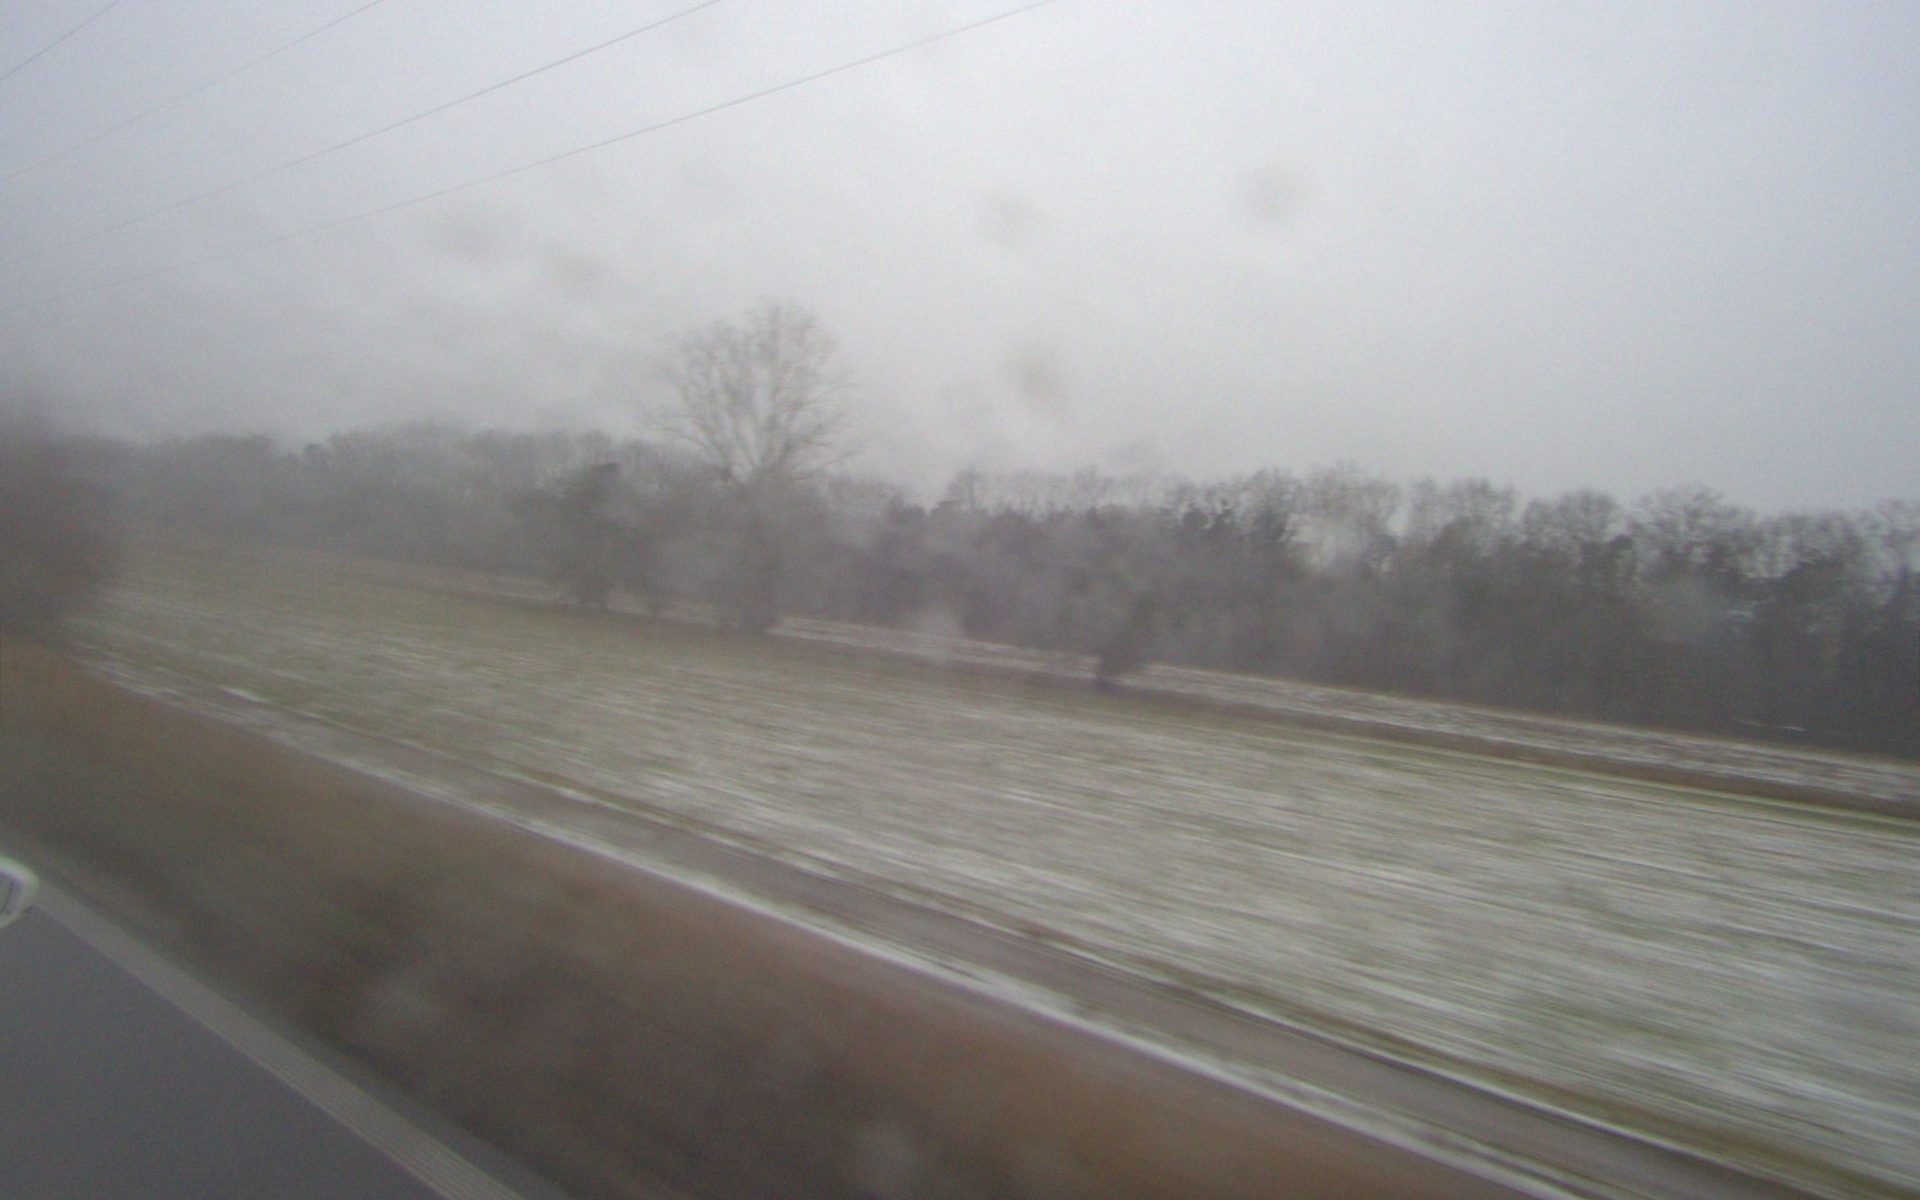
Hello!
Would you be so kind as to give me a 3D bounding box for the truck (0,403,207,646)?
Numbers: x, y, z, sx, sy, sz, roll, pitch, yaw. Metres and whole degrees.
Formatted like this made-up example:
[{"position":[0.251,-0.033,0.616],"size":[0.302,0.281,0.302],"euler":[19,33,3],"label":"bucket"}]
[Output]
[{"position":[-15.310,-1.305,15.829],"size":[7.725,3.013,2.539],"euler":[6,-1,31],"label":"truck"}]
